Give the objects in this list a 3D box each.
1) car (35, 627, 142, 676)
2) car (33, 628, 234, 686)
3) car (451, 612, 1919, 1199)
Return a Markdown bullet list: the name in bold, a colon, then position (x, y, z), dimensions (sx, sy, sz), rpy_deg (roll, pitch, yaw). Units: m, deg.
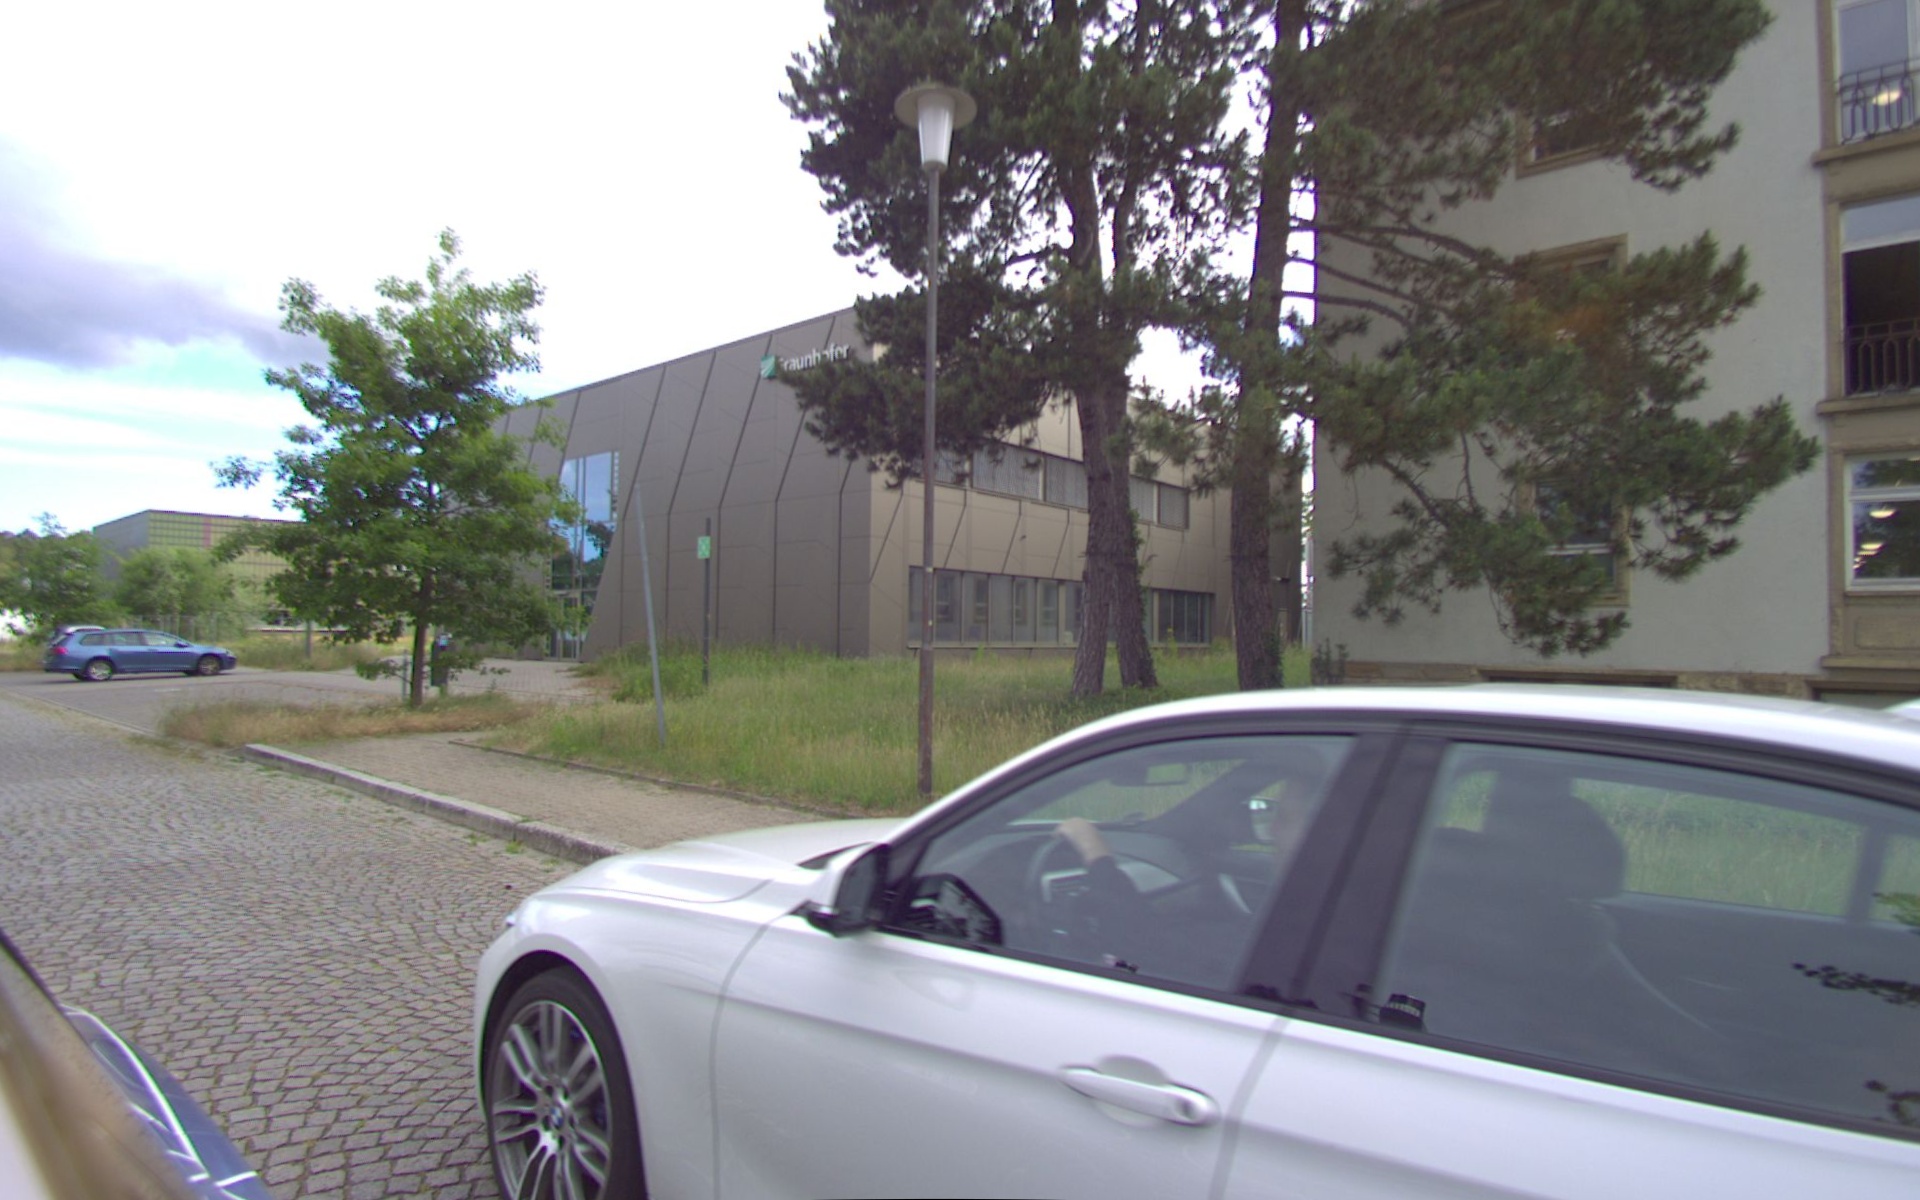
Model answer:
- **car**: position (-29.862, 1.722, 34.719), dimensions (1.498, 1.541, 2.553), rpy_deg (-1, -1, 38)
- **car**: position (-24.295, 1.631, 29.896), dimensions (1.631, 1.481, 4.373), rpy_deg (-1, -1, 38)
- **car**: position (0.919, 0.819, 1.941), dimensions (4.214, 1.449, 1.756), rpy_deg (-1, -6, 39)
